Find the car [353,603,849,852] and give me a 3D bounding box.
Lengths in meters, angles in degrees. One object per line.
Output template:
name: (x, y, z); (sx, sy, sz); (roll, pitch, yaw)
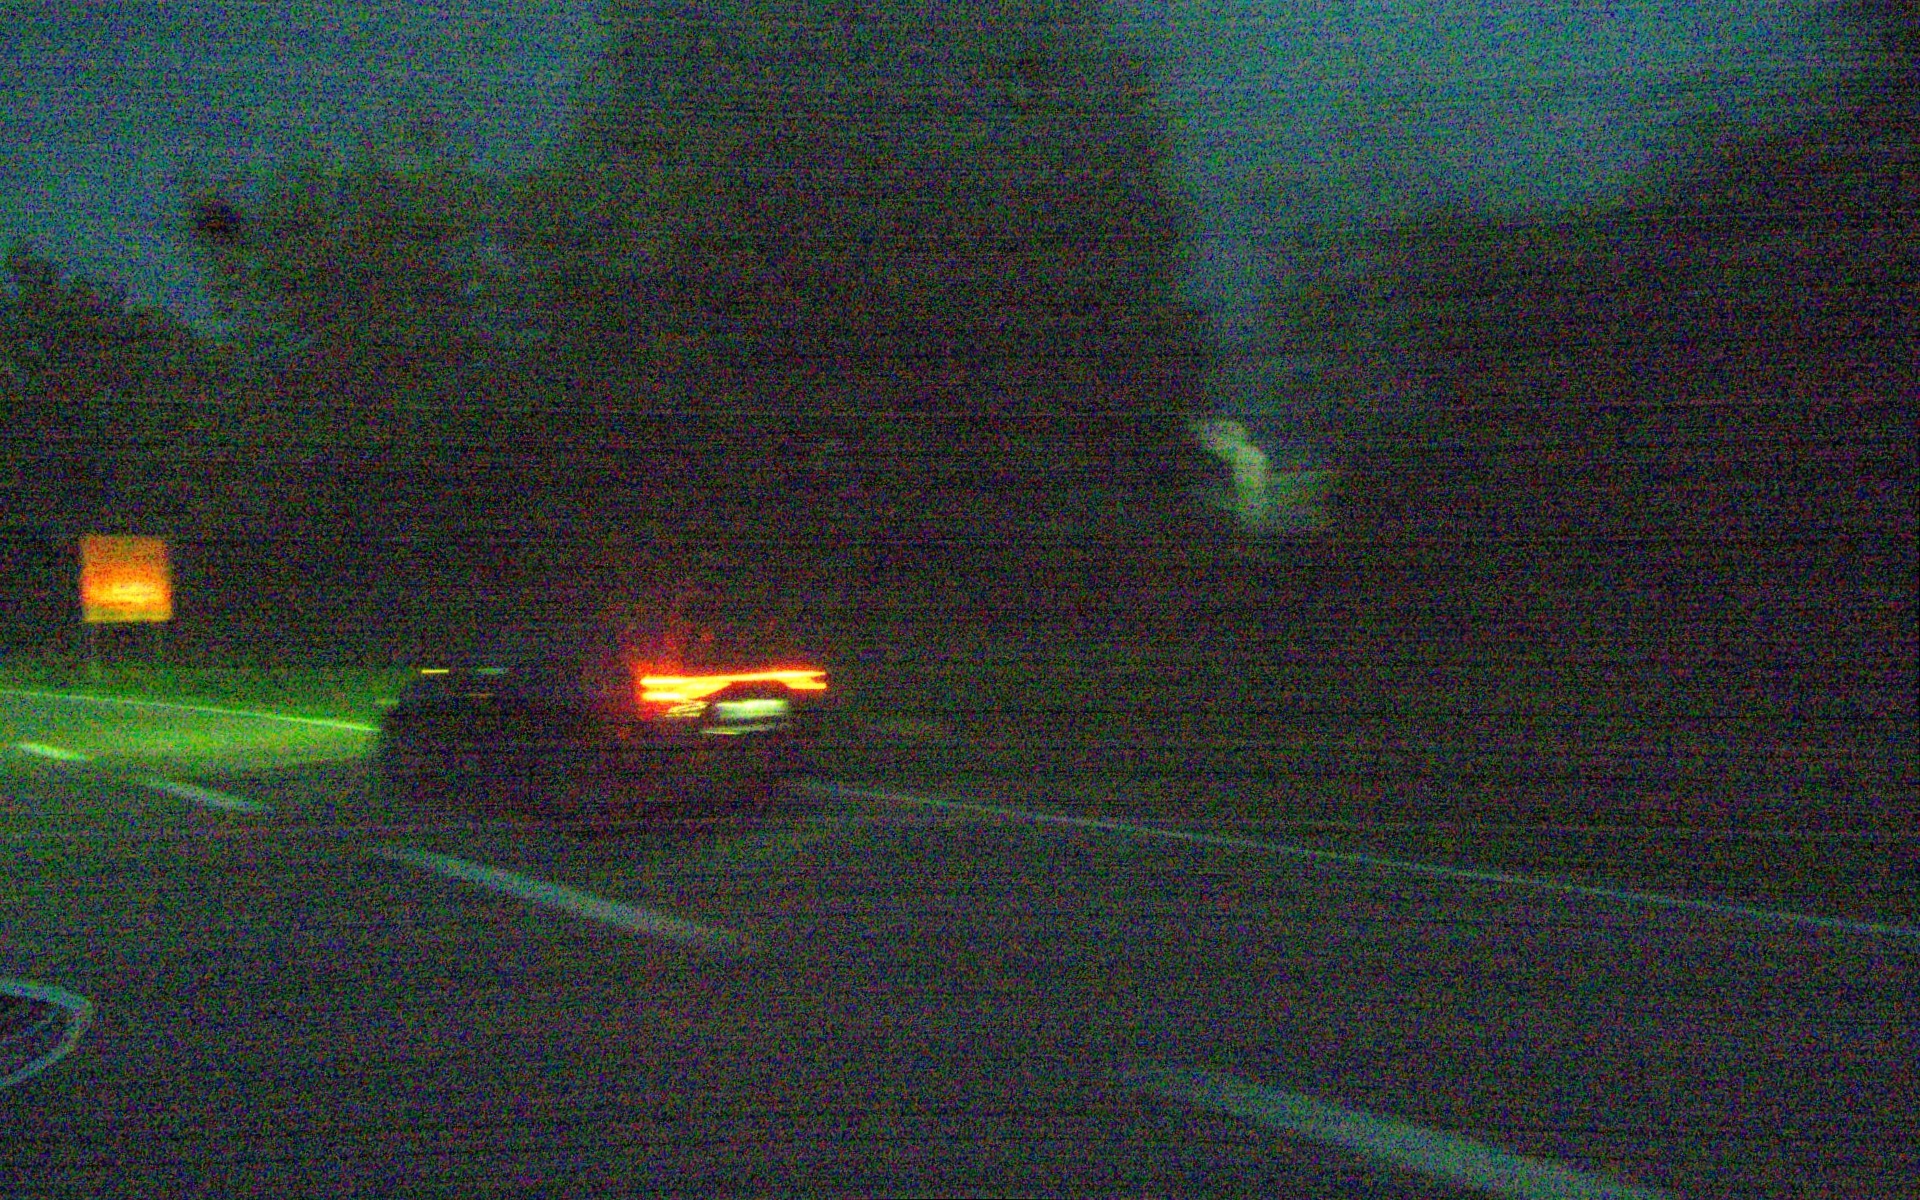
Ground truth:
car: (-3.269, 0.898, 8.724); (4.497, 1.641, 1.895); (-1, -1, 36)
